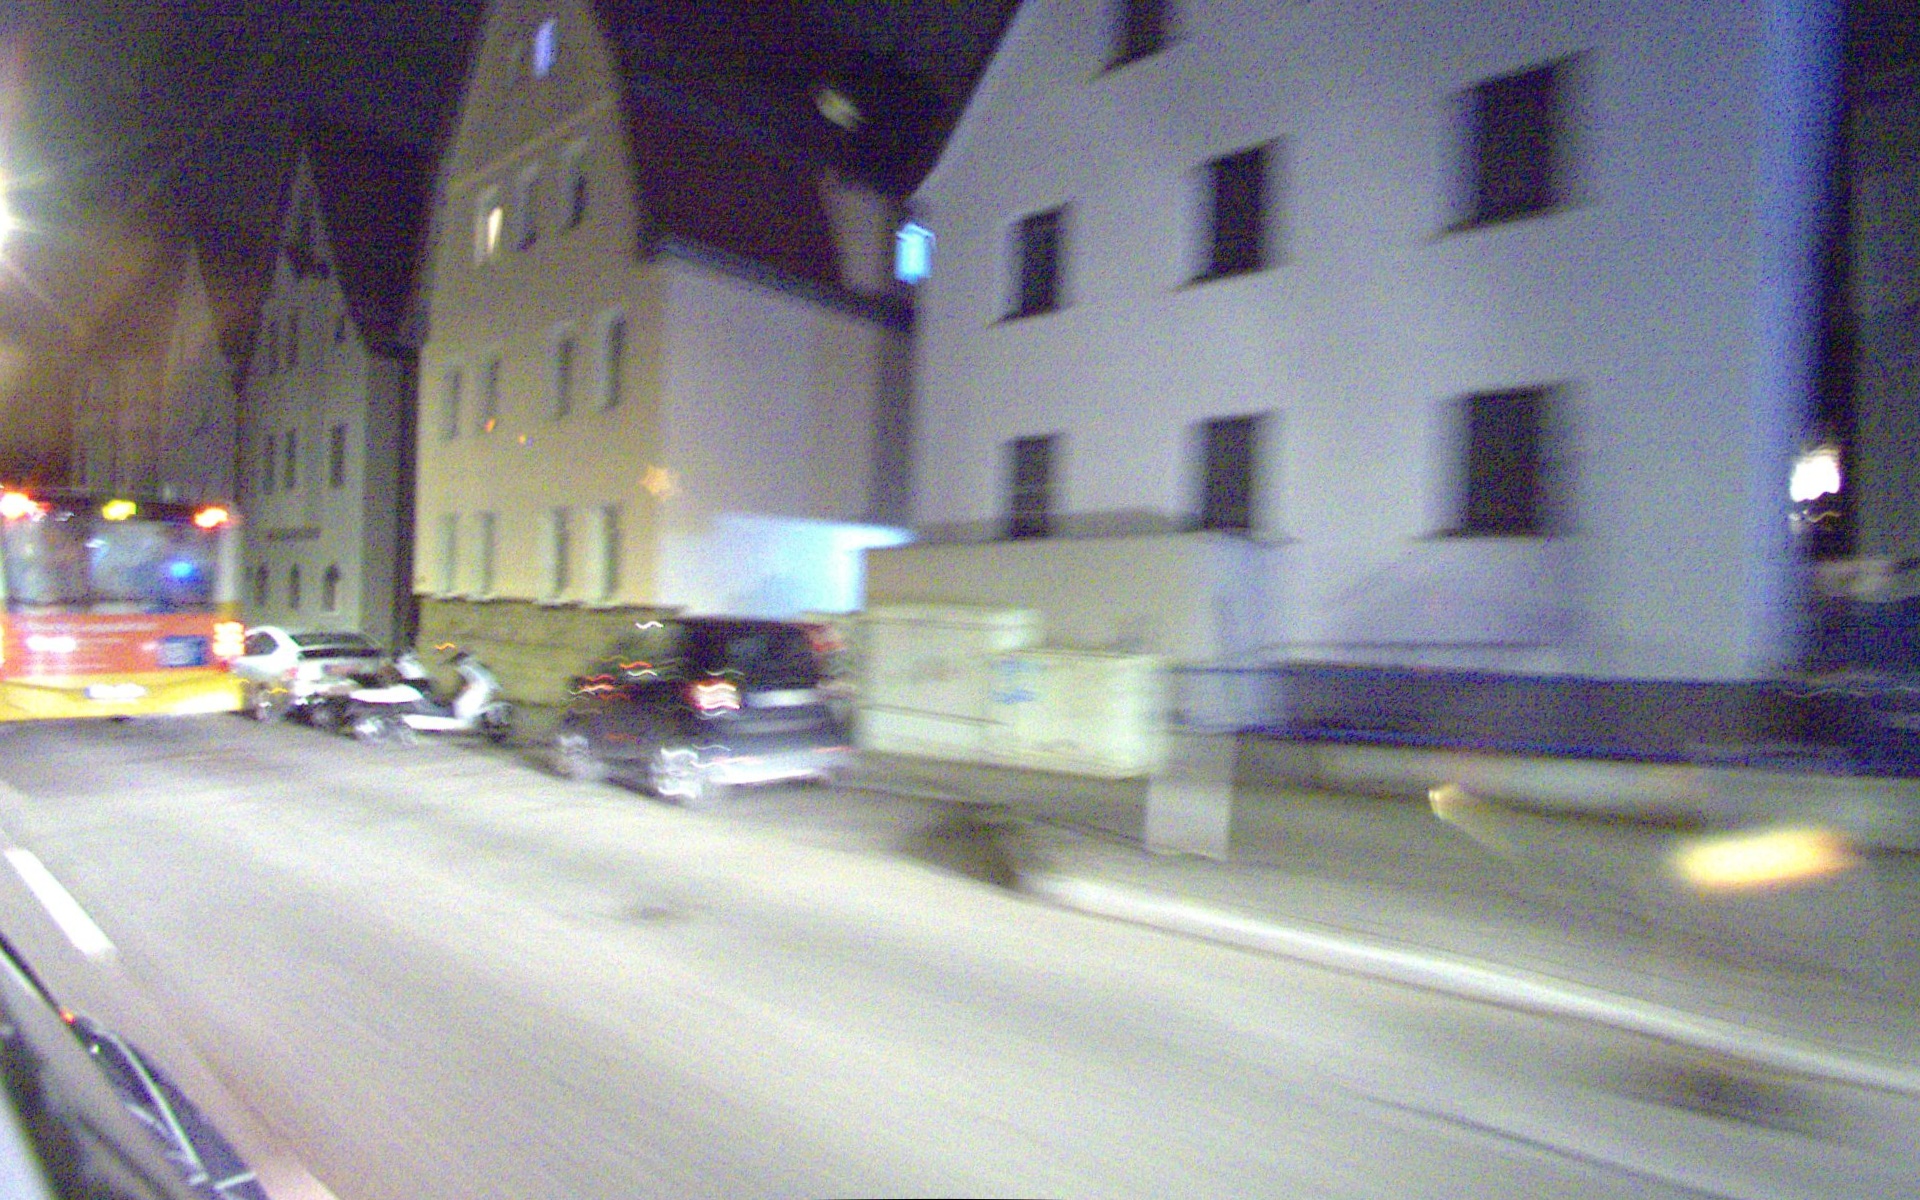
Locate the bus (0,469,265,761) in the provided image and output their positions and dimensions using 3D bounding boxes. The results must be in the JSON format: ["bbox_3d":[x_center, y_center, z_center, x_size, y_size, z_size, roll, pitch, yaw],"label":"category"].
[{"bbox_3d":[-12.694,0.228,14.458,7.657,3.201,2.808,-1,-1,42],"label":"bus"}]

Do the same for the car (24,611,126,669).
[{"bbox_3d":[-27.217,1.188,31.067,4.543,1.631,1.816,-1,-1,42],"label":"car"}]

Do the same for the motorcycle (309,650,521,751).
[{"bbox_3d":[-6.620,1.197,12.419,2.171,1.139,0.718,0,-2,-16],"label":"motorcycle"}]

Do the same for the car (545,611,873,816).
[{"bbox_3d":[-2.311,0.870,9.116,2.765,1.509,1.621,0,-1,43],"label":"car"}]

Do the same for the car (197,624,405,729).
[{"bbox_3d":[-10.858,1.161,16.562,4.225,1.503,1.686,-1,-3,40],"label":"car"}]

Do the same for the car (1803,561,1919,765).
[{"bbox_3d":[8.730,0.457,8.856,1.873,1.516,4.180,0,0,43],"label":"car"}]

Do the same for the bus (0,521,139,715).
[{"bbox_3d":[-19.516,0.390,20.480,10.493,3.201,2.808,-1,-1,41],"label":"bus"}]

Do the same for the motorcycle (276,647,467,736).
[{"bbox_3d":[-7.982,1.225,13.791,2.177,1.156,0.716,0,-2,-1],"label":"motorcycle"}]
